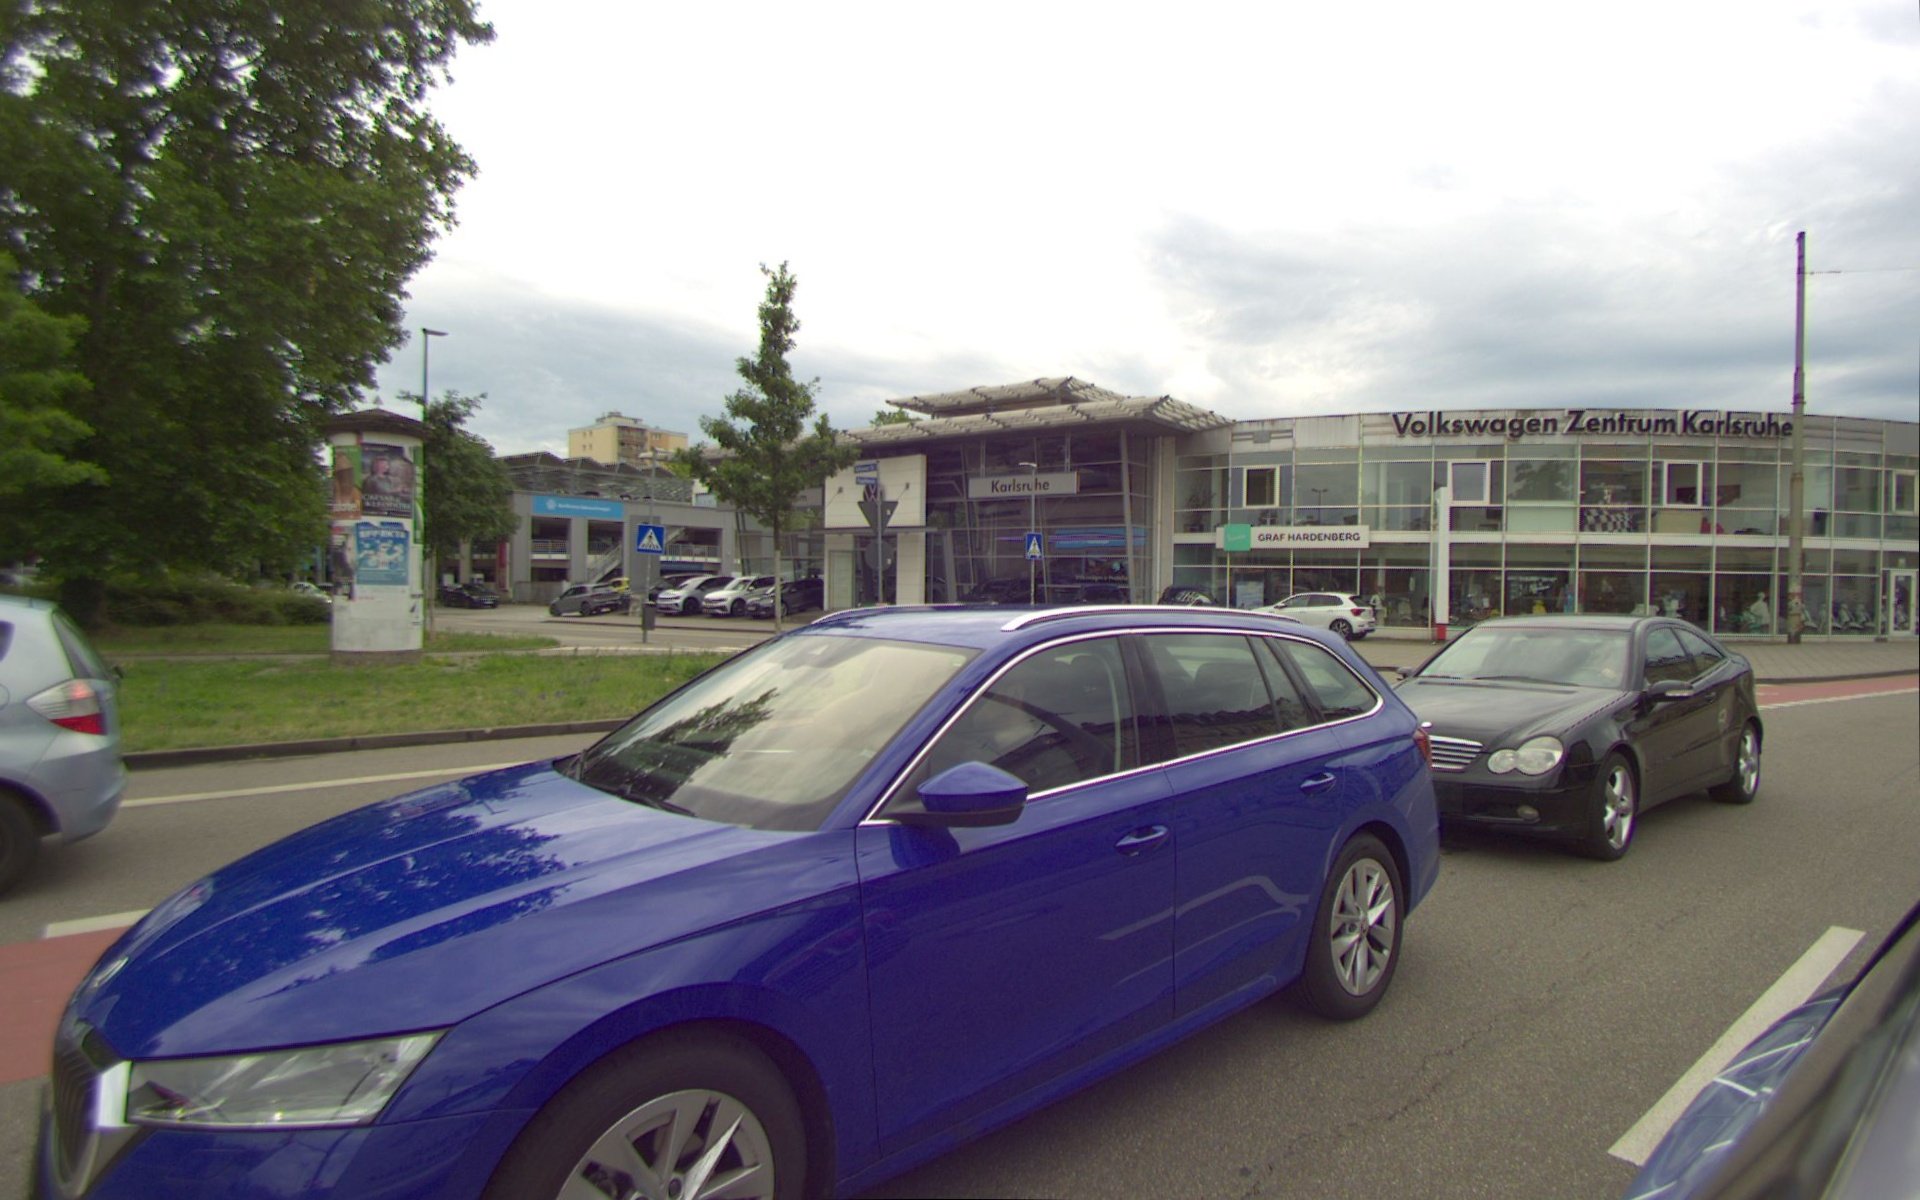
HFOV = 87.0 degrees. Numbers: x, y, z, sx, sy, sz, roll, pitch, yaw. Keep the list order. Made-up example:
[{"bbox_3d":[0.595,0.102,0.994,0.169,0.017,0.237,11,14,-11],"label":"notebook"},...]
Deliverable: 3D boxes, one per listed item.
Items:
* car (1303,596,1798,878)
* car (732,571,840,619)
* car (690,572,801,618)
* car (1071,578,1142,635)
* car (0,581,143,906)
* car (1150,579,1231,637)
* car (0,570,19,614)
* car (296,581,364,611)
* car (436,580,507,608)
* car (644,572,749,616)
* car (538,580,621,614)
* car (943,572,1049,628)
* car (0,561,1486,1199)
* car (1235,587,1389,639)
[{"bbox_3d":[4.346,0.708,7.213,3.996,1.439,1.714,0,1,-39],"label":"car"},{"bbox_3d":[-7.313,-0.244,42.851,1.886,1.717,4.421,0,4,36],"label":"car"},{"bbox_3d":[-9.396,-0.270,44.596,1.850,1.719,4.716,0,4,36],"label":"car"},{"bbox_3d":[4.712,0.159,33.126,1.824,1.522,4.340,0,4,2],"label":"car"},{"bbox_3d":[-6.121,0.652,4.335,4.027,1.485,1.752,0,1,-41],"label":"car"},{"bbox_3d":[7.360,0.193,32.740,1.867,1.581,4.219,1,3,4],"label":"car"},{"bbox_3d":[-36.497,-0.324,36.336,4.408,1.567,1.854,1,1,13],"label":"car"},{"bbox_3d":[-37.059,-0.278,59.504,4.446,1.643,1.838,2,2,35],"label":"car"},{"bbox_3d":[-28.982,-0.394,60.051,4.446,1.567,1.876,2,2,35],"label":"car"},{"bbox_3d":[-11.977,-0.325,46.191,1.859,1.719,4.419,0,4,37],"label":"car"},{"bbox_3d":[-18.634,-0.157,49.498,3.988,1.583,1.896,0,2,35],"label":"car"},{"bbox_3d":[1.359,-0.047,35.856,1.846,1.652,4.464,0,4,31],"label":"car"},{"bbox_3d":[-0.108,0.662,3.346,4.387,1.507,1.783,-1,2,-41],"label":"car"},{"bbox_3d":[11.016,0.360,31.793,4.243,1.471,1.757,1,1,40],"label":"car"}]
